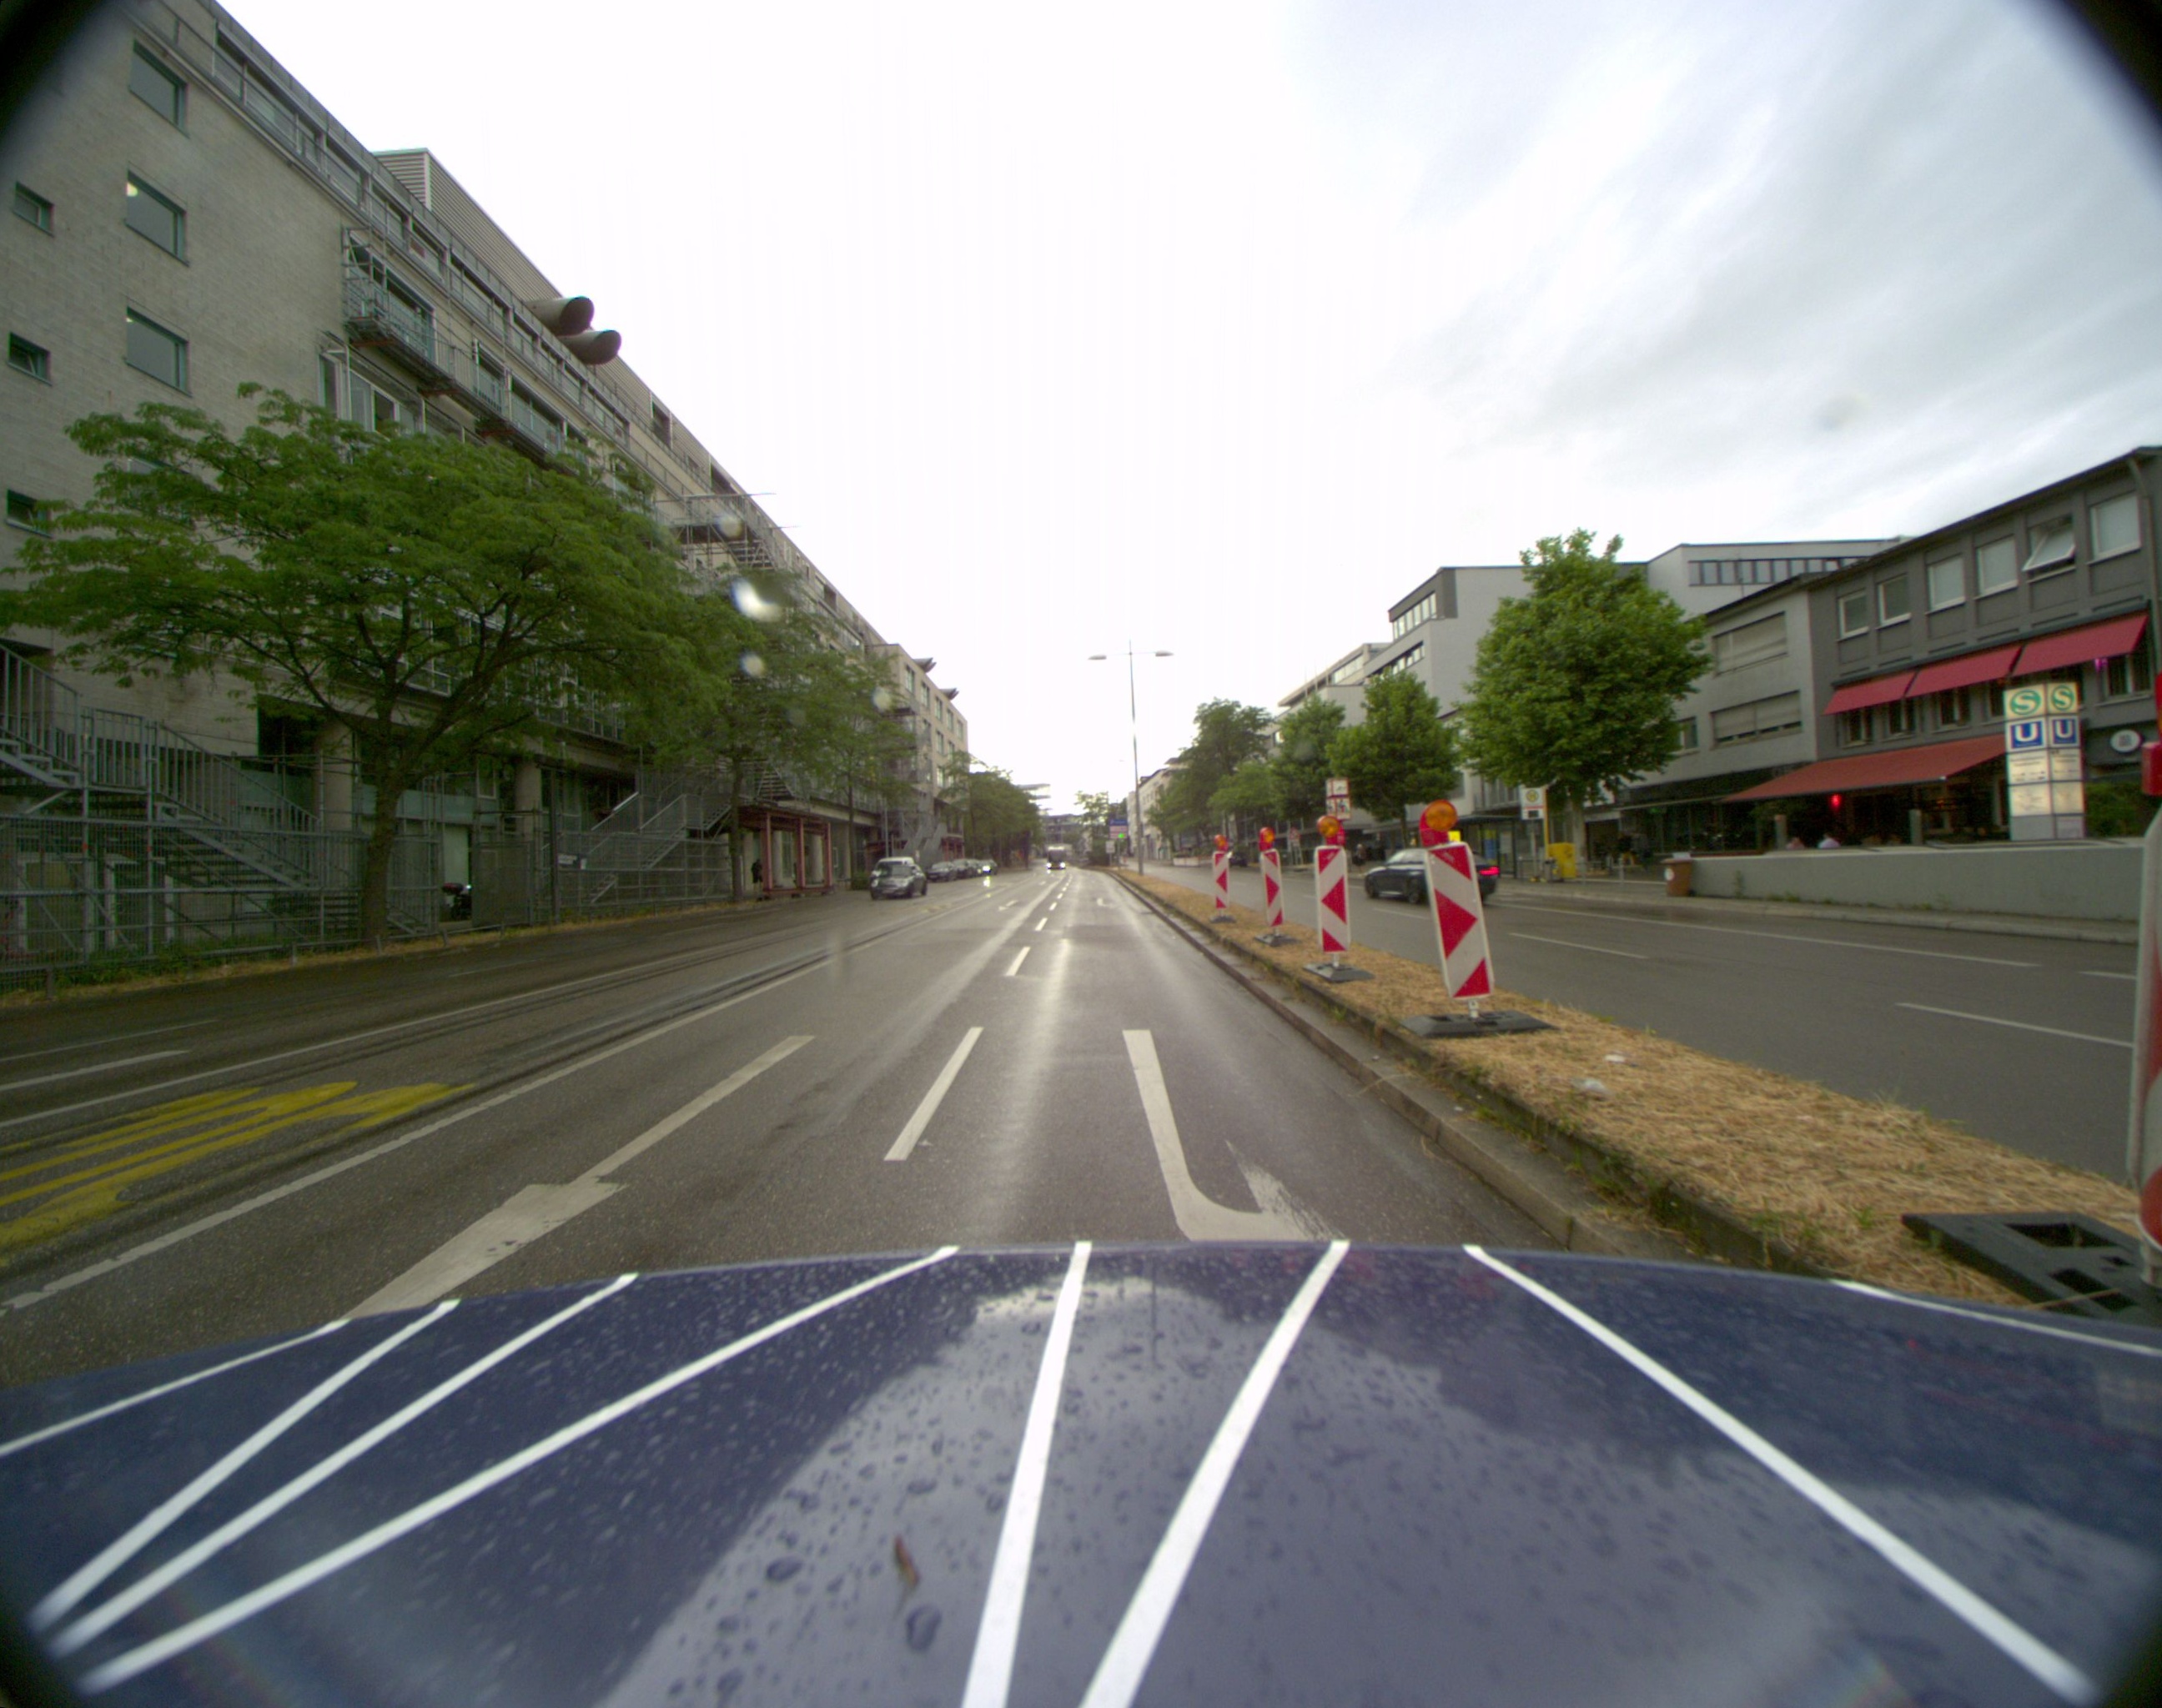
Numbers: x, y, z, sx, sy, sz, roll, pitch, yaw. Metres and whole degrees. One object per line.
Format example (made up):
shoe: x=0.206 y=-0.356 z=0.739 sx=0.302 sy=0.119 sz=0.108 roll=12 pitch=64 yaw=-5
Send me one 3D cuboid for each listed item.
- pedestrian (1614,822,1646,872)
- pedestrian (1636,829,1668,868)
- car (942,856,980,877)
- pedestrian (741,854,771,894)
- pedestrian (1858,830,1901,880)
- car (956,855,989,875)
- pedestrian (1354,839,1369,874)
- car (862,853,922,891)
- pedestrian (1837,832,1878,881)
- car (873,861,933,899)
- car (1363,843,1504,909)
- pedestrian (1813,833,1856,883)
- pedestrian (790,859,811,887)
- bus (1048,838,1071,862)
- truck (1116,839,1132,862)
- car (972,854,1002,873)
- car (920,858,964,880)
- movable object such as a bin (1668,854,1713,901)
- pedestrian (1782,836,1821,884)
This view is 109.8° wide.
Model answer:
pedestrian: x=22.602 y=-0.293 z=31.298 sx=0.774 sy=2.002 sz=0.767 roll=-2 pitch=1 yaw=8
pedestrian: x=23.459 y=-0.221 z=31.219 sx=0.774 sy=1.556 sz=0.767 roll=-2 pitch=1 yaw=8
car: x=-9.620 y=0.975 z=61.215 sx=2.147 sy=1.486 sz=4.816 roll=-2 pitch=1 yaw=1
pedestrian: x=-16.684 y=1.001 z=39.062 sx=1.009 sy=2.002 sz=1.039 roll=-2 pitch=1 yaw=1
pedestrian: x=24.996 y=0.033 z=23.786 sx=0.669 sy=1.520 sz=0.611 roll=-2 pitch=1 yaw=3
car: x=-9.460 y=0.934 z=66.684 sx=2.147 sy=1.552 sz=4.816 roll=-2 pitch=1 yaw=1
pedestrian: x=14.497 y=0.122 z=39.271 sx=0.575 sy=1.815 sz=0.580 roll=-2 pitch=1 yaw=7
car: x=-10.523 y=0.950 z=42.651 sx=2.213 sy=1.895 sz=4.329 roll=-2 pitch=1 yaw=0
pedestrian: x=25.041 y=0.075 z=24.495 sx=0.669 sy=1.520 sz=0.611 roll=-2 pitch=1 yaw=4
car: x=-7.525 y=1.134 z=32.443 sx=1.744 sy=1.446 sz=3.723 roll=-2 pitch=-3 yaw=-2
car: x=9.486 y=0.520 z=20.881 sx=1.692 sy=1.545 sz=4.419 roll=-2 pitch=1 yaw=-2
pedestrian: x=23.222 y=0.120 z=23.426 sx=0.669 sy=1.520 sz=0.611 roll=-2 pitch=1 yaw=3
pedestrian: x=-18.363 y=1.244 z=49.711 sx=1.010 sy=1.789 sz=0.846 roll=-2 pitch=1 yaw=-3
bus: x=-3.131 y=-0.605 z=114.538 sx=2.890 sy=3.430 sz=9.756 roll=-2 pitch=1 yaw=1
truck: x=7.109 y=-0.563 z=127.110 sx=1.999 sy=3.557 sz=7.572 roll=-2 pitch=0 yaw=-2
car: x=-8.891 y=0.864 z=72.420 sx=2.147 sy=1.637 sz=4.816 roll=-2 pitch=1 yaw=1
car: x=-9.888 y=1.051 z=54.416 sx=2.147 sy=1.329 sz=4.816 roll=-2 pitch=1 yaw=1
movable object such as a bin: x=14.566 y=0.549 z=18.163 sx=0.507 sy=1.094 sz=0.660 roll=-2 pitch=1 yaw=-2
pedestrian: x=23.345 y=0.197 z=24.628 sx=0.669 sy=1.520 sz=0.611 roll=-2 pitch=1 yaw=3
